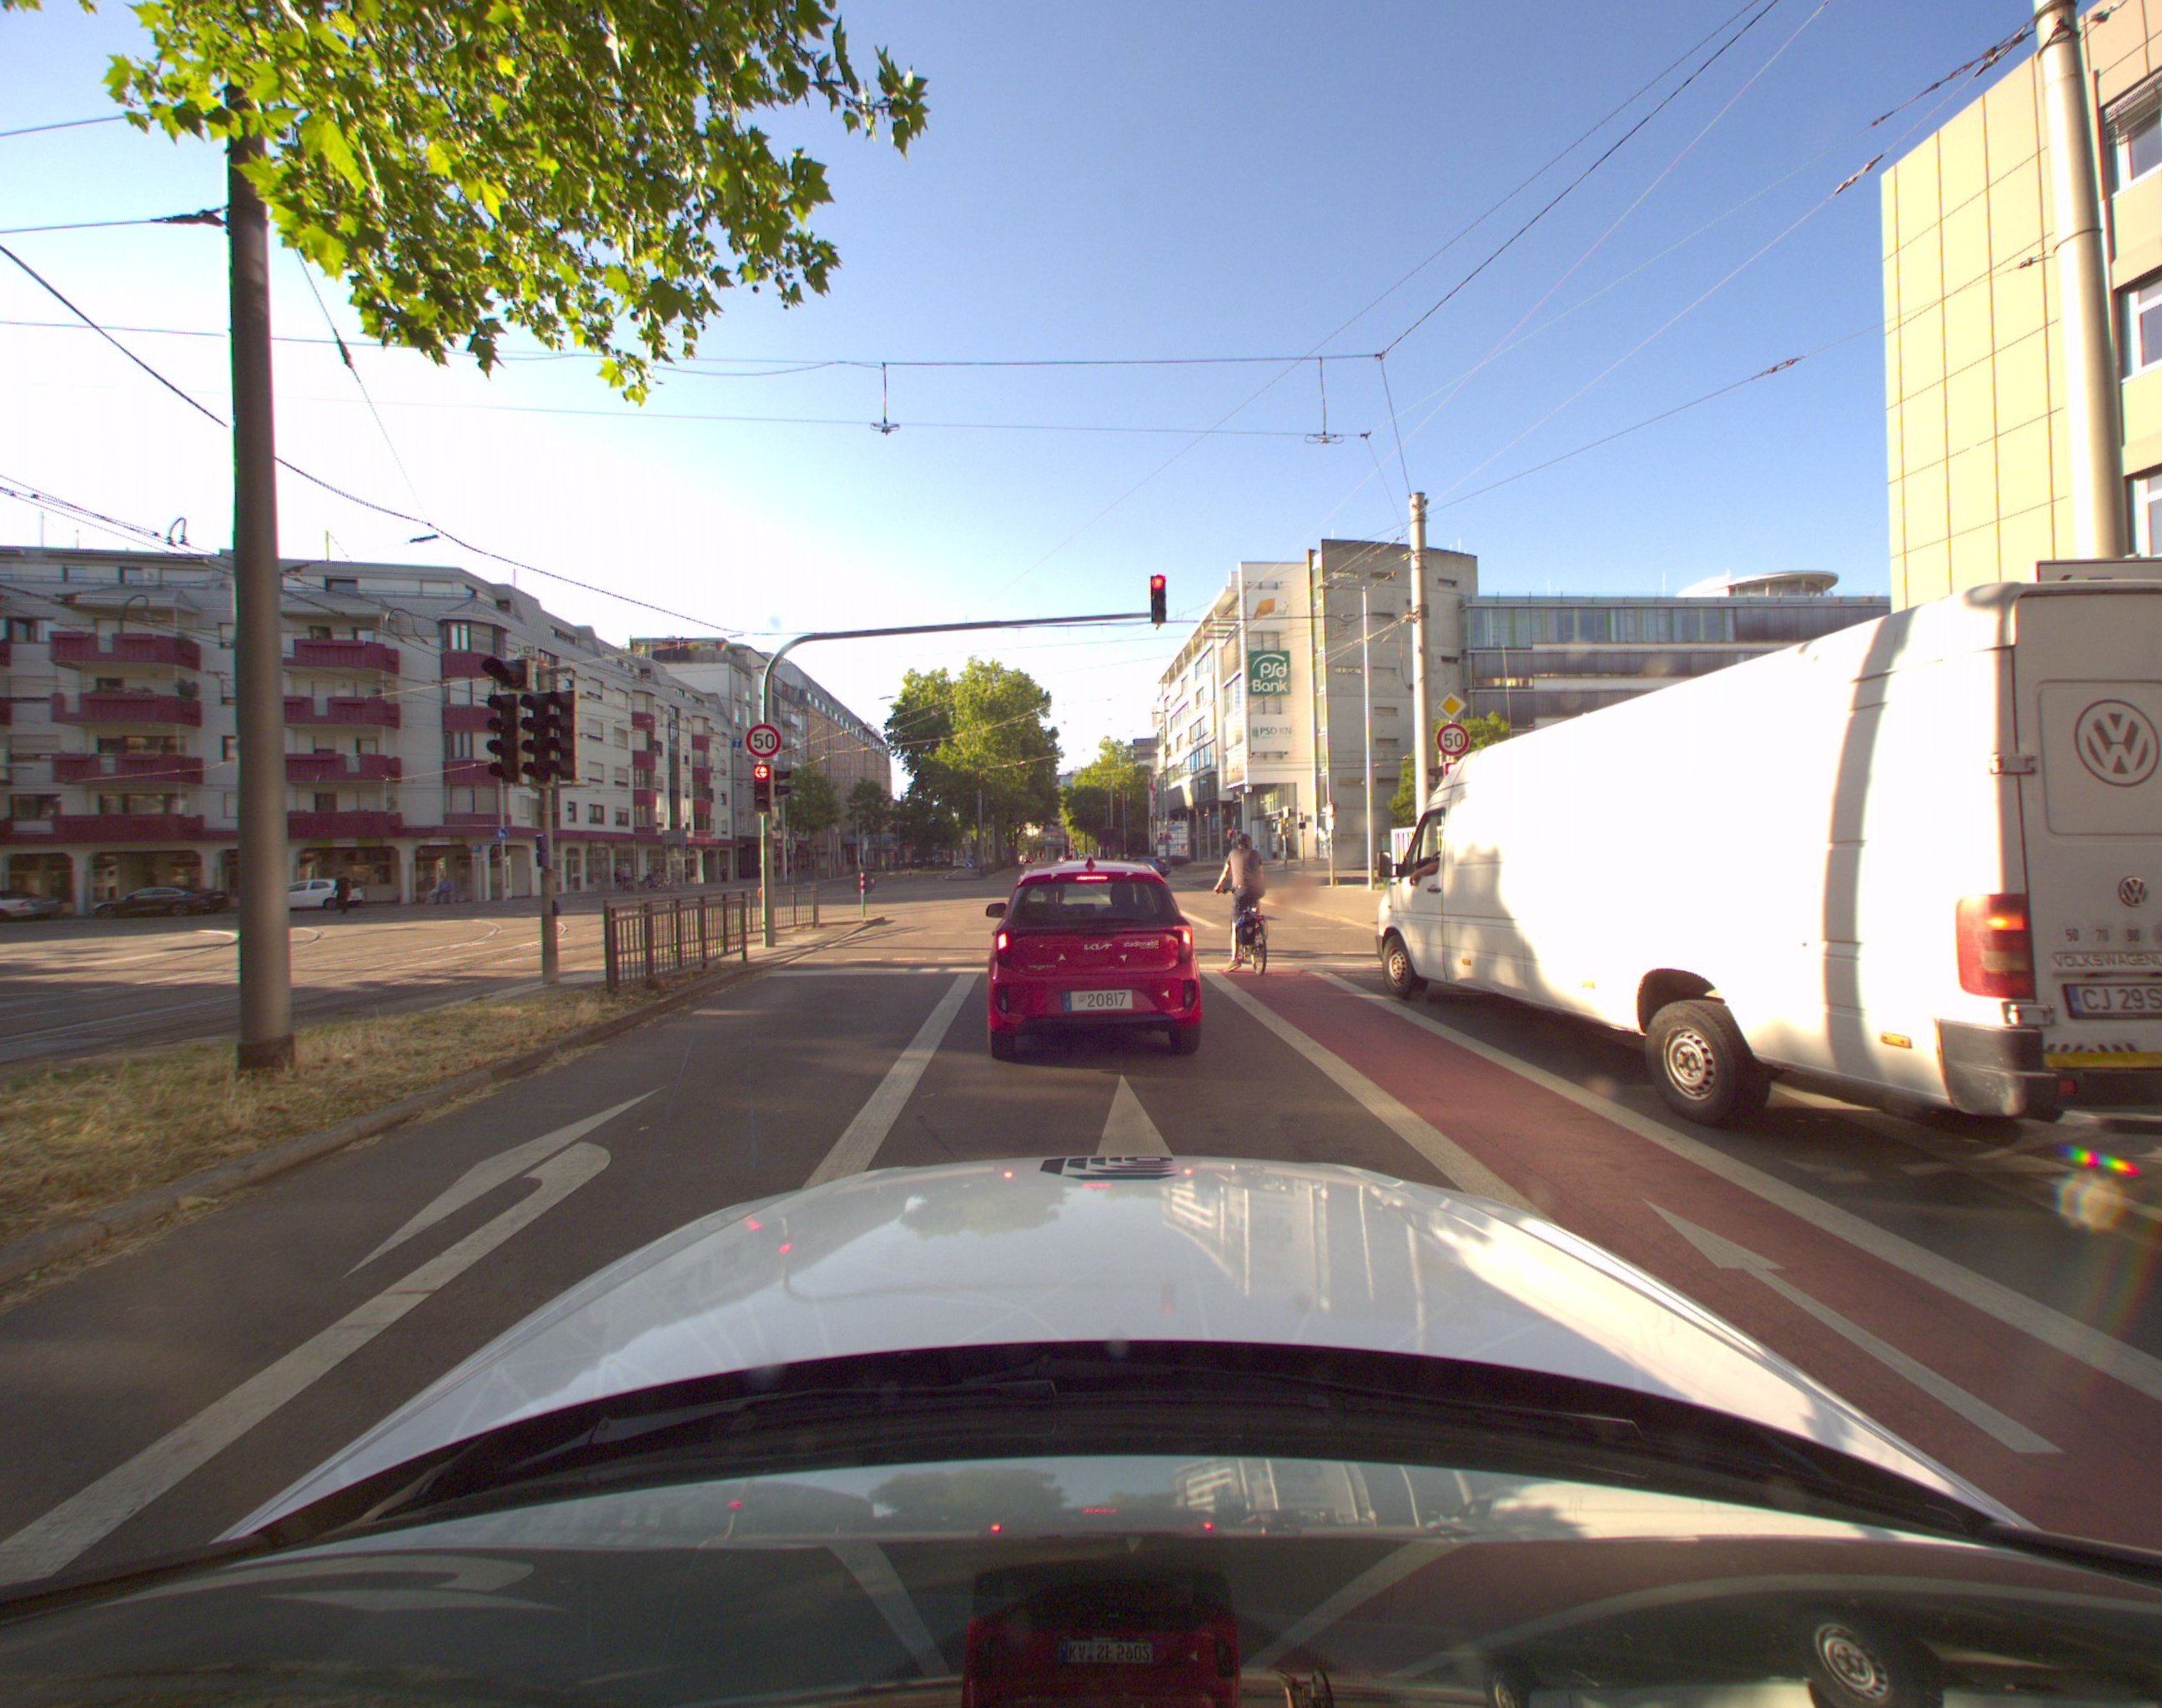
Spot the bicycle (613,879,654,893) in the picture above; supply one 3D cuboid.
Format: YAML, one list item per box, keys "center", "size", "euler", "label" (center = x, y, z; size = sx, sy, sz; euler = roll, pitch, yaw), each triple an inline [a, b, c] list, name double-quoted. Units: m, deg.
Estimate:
- center: [-28.213, 2.016, 51.337]
  size: [2.167, 0.787, 0.639]
  euler: [-2, 0, -7]
  label: "bicycle"

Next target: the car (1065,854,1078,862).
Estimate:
- center: [-1.975, 0.852, 167.262]
  size: [2.474, 1.528, 4.424]
  euler: [-3, 0, -5]
  label: "car"

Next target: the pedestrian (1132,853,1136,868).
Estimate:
- center: [5.385, 0.662, 82.461]
  size: [0.293, 1.562, 0.314]
  euler: [-2, 0, -2]
  label: "pedestrian"

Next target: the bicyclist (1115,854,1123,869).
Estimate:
- center: [4.023, 0.782, 86.477]
  size: [0.781, 1.635, 0.640]
  euler: [-2, 0, 5]
  label: "bicyclist"

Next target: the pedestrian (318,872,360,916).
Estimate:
- center: [-29.584, 1.582, 32.493]
  size: [0.708, 1.662, 1.031]
  euler: [-2, 0, -8]
  label: "pedestrian"

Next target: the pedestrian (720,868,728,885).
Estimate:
- center: [-30.625, 1.907, 69.821]
  size: [0.511, 1.459, 0.526]
  euler: [-2, 0, -12]
  label: "pedestrian"

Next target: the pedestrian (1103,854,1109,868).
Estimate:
- center: [3.337, 0.933, 107.944]
  size: [0.741, 1.716, 0.748]
  euler: [-2, 0, -2]
  label: "pedestrian"

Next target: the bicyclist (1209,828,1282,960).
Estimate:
- center: [2.153, 0.504, 10.729]
  size: [0.743, 1.669, 0.742]
  euler: [0, 0, -10]
  label: "bicyclist"

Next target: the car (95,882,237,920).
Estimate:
- center: [-42.406, 2.165, 37.845]
  size: [3.995, 1.464, 1.792]
  euler: [-3, 0, -16]
  label: "car"

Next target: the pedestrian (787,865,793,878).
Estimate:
- center: [-32.185, 1.945, 89.999]
  size: [0.509, 1.459, 0.527]
  euler: [-2, 0, -5]
  label: "pedestrian"

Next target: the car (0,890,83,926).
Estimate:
- center: [-48.379, 2.470, 36.524]
  size: [4.263, 1.464, 1.793]
  euler: [-3, 0, -14]
  label: "car"

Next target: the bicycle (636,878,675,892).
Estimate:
- center: [-27.936, 2.005, 53.476]
  size: [2.167, 0.824, 0.526]
  euler: [-2, 0, -7]
  label: "bicycle"

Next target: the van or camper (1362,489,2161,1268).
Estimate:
- center: [4.437, 0.095, 6.087]
  size: [2.263, 2.733, 6.341]
  euler: [1, 0, -2]
  label: "van or camper"

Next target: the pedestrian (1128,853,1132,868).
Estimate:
- center: [4.910, 0.672, 82.383]
  size: [0.294, 1.562, 0.355]
  euler: [-2, 0, -7]
  label: "pedestrian"

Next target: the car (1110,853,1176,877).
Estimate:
- center: [4.394, 0.789, 58.105]
  size: [4.219, 1.568, 1.861]
  euler: [-2, 0, 30]
  label: "car"

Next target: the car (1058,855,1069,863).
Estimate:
- center: [-3.916, 1.107, 181.225]
  size: [1.882, 1.528, 4.422]
  euler: [-2, 0, -6]
  label: "car"

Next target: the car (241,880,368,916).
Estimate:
- center: [-37.312, 2.082, 39.239]
  size: [3.994, 1.464, 1.792]
  euler: [-3, 0, -15]
  label: "car"

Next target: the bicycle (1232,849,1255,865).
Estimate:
- center: [15.078, 0.294, 75.532]
  size: [1.931, 1.443, 0.574]
  euler: [-2, 0, -5]
  label: "bicycle"

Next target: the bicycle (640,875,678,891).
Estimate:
- center: [-28.018, 1.940, 54.115]
  size: [2.167, 0.951, 0.491]
  euler: [-2, 0, -7]
  label: "bicycle"

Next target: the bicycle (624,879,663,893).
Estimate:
- center: [-28.000, 2.016, 52.113]
  size: [2.167, 0.787, 0.491]
  euler: [-2, 0, -7]
  label: "bicycle"

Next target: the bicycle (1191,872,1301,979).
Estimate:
- center: [2.136, 0.879, 10.866]
  size: [0.743, 1.224, 2.149]
  euler: [0, 0, -9]
  label: "bicycle"

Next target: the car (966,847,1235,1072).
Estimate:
- center: [0.054, 0.727, 7.525]
  size: [1.835, 1.489, 3.712]
  euler: [-2, 0, -3]
  label: "car"

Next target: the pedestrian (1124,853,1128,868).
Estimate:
- center: [4.527, 0.677, 82.304]
  size: [0.294, 1.562, 0.301]
  euler: [-2, 0, -13]
  label: "pedestrian"

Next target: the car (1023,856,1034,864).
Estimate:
- center: [-11.392, 1.302, 176.552]
  size: [2.056, 1.654, 3.482]
  euler: [-2, 0, -8]
  label: "car"

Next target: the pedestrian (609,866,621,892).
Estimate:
- center: [-31.175, 1.643, 54.470]
  size: [0.509, 1.699, 0.527]
  euler: [-2, 0, -5]
  label: "pedestrian"

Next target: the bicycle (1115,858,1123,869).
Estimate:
- center: [4.038, 0.976, 86.536]
  size: [0.789, 1.161, 2.503]
  euler: [-2, 0, 4]
  label: "bicycle"

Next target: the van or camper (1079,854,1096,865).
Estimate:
- center: [1.046, 0.850, 132.984]
  size: [2.143, 1.750, 4.422]
  euler: [-2, 0, -6]
  label: "van or camper"

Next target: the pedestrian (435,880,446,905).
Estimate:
- center: [-32.534, 1.956, 41.364]
  size: [0.303, 1.214, 0.318]
  euler: [-2, 0, -9]
  label: "pedestrian"

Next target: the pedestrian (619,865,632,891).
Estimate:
- center: [-30.567, 1.608, 54.651]
  size: [0.509, 1.699, 0.527]
  euler: [-2, 0, -5]
  label: "pedestrian"
